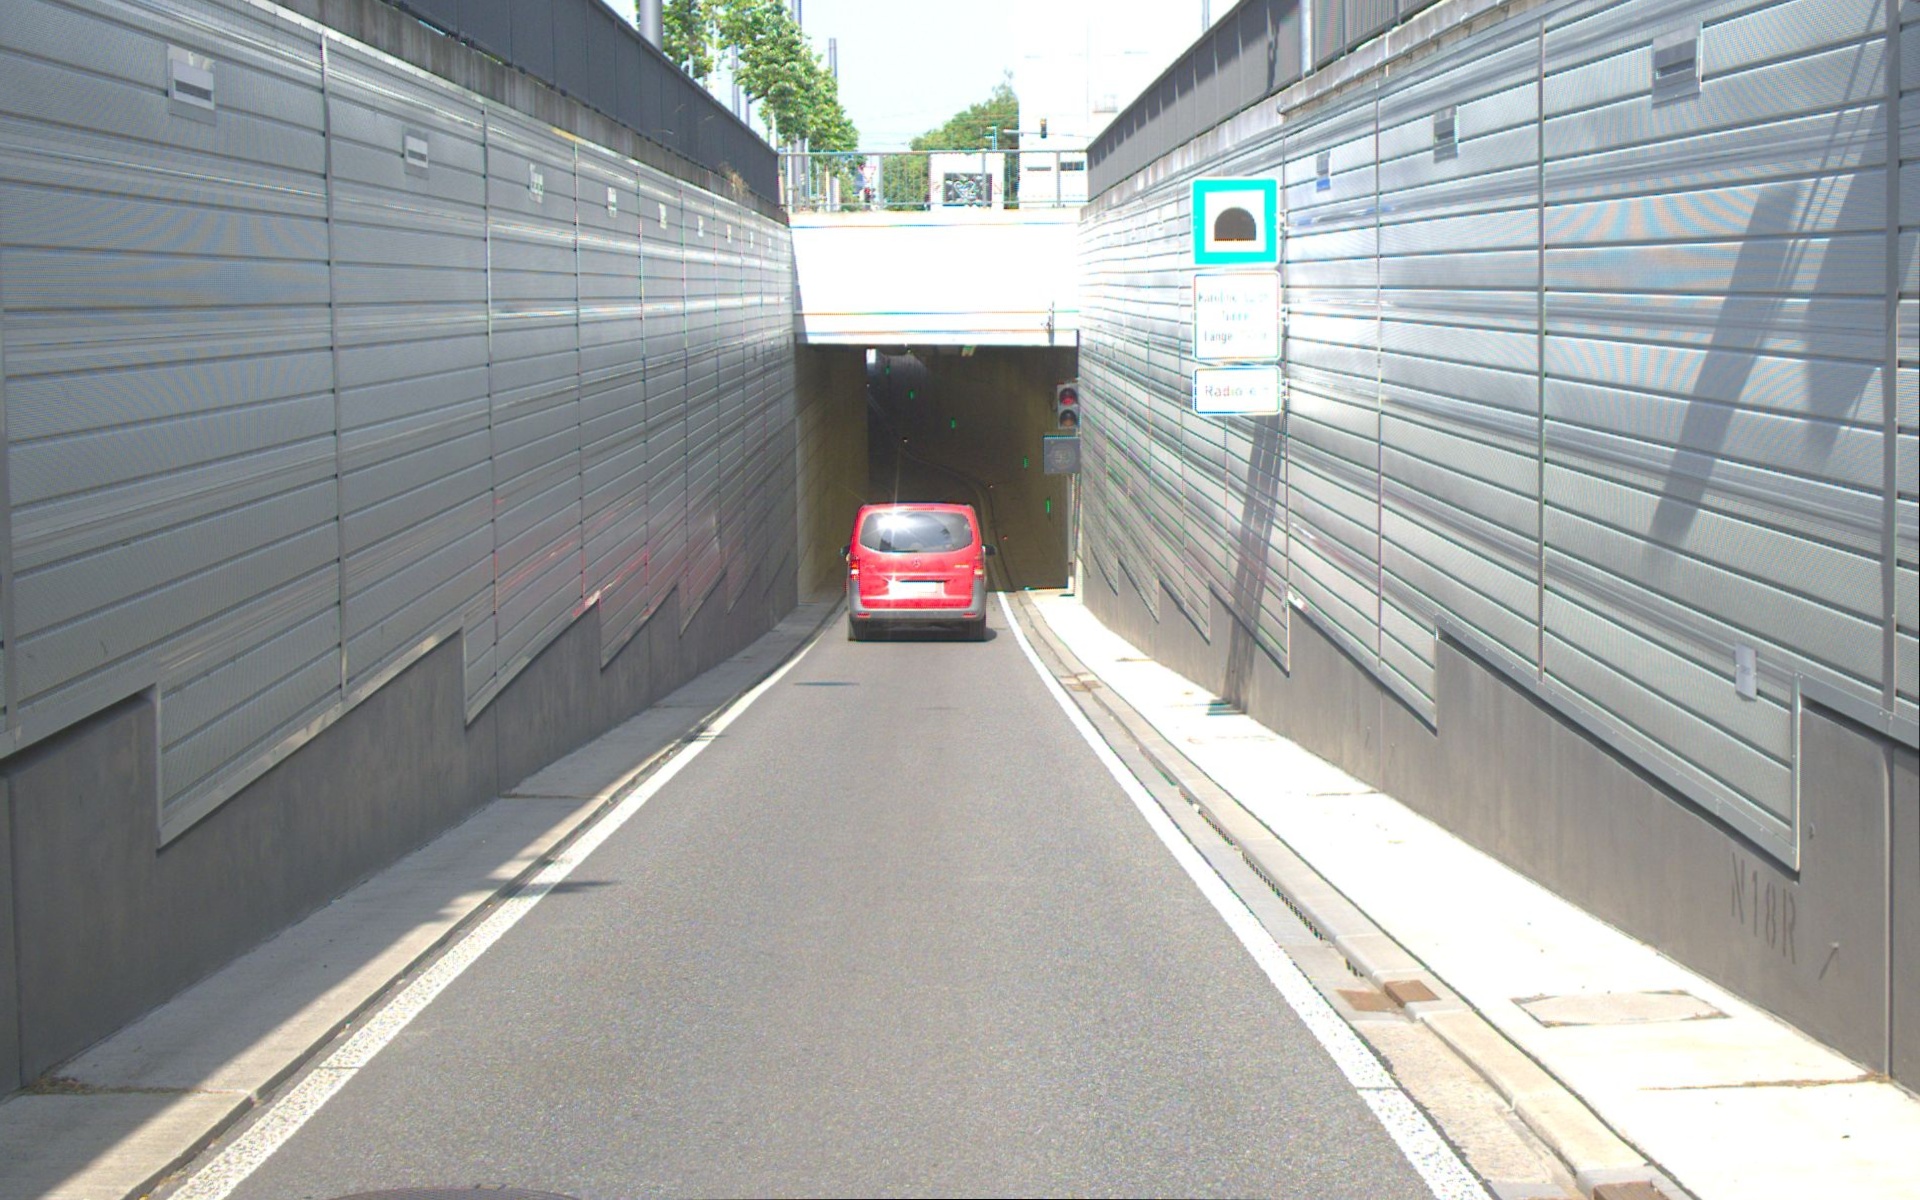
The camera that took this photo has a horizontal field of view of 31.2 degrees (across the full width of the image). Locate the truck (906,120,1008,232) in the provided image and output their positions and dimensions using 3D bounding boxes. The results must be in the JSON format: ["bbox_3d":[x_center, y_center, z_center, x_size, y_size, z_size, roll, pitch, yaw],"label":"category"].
[{"bbox_3d":[-0.175,-15.645,127.475,3.390,3.712,10.455,-1,5,-2],"label":"truck"}]

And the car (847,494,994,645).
[{"bbox_3d":[-0.545,-0.462,47.307,1.901,1.853,4.001,1,3,-1],"label":"car"}]
